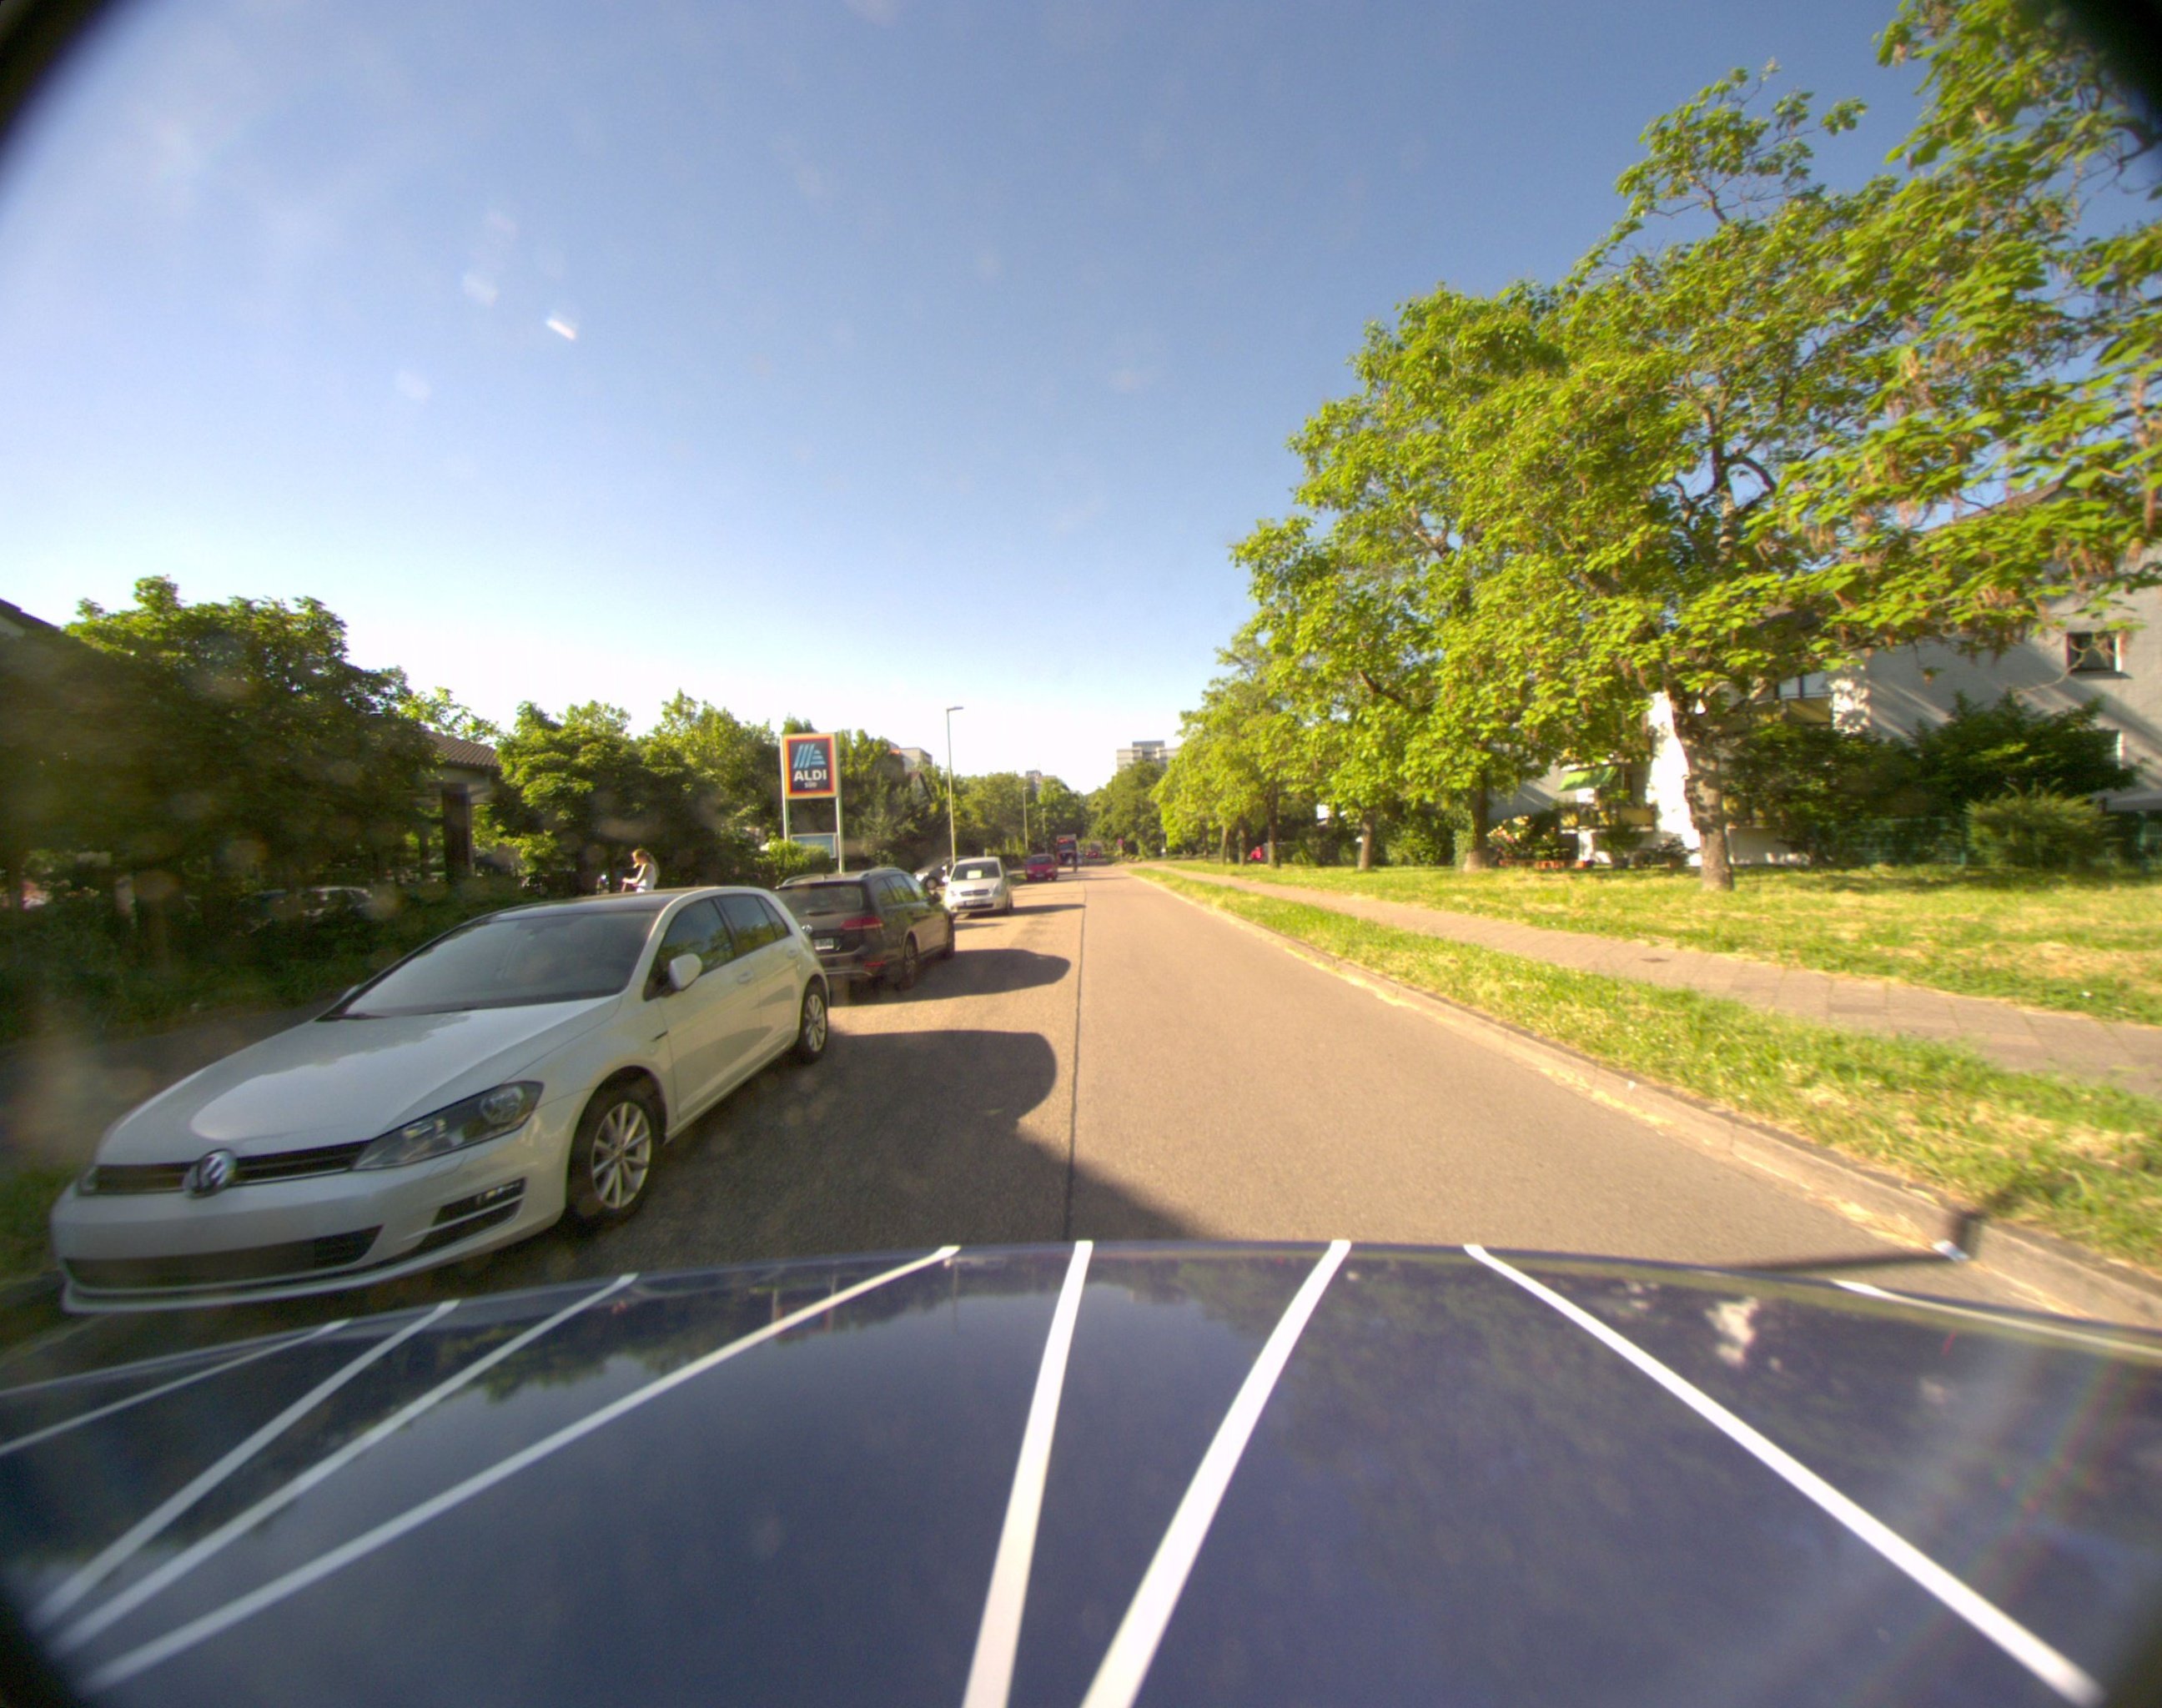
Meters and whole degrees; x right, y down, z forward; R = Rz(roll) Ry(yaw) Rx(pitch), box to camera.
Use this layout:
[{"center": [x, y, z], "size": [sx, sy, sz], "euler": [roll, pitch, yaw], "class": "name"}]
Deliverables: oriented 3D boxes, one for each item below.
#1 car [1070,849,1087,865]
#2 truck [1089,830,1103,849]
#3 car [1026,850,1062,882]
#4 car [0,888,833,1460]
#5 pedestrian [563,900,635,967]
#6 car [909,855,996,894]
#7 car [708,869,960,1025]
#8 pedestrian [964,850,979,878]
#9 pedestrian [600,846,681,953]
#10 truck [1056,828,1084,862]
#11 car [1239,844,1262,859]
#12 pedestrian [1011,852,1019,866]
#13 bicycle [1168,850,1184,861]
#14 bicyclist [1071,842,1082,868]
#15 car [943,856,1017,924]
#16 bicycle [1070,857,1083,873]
[{"center": [-0.302, 0.355, 90.155], "size": [1.845, 1.795, 4.028], "euler": [-3, 1, 0], "class": "car"}, {"center": [3.292, -3.325, 167.833], "size": [2.803, 3.996, 9.623], "euler": [-1, 2, 0], "class": "truck"}, {"center": [-2.295, 0.707, 48.242], "size": [1.844, 1.795, 4.653], "euler": [-3, 1, 2], "class": "car"}, {"center": [-2.984, 1.071, 4.287], "size": [1.831, 1.443, 3.999], "euler": [-3, 1, -1], "class": "car"}, {"center": [-7.783, 1.268, 12.292], "size": [0.533, 0.975, 0.811], "euler": [-3, 1, 8], "class": "pedestrian"}, {"center": [-6.225, 0.966, 36.786], "size": [3.760, 1.635, 1.852], "euler": [-2, 1, -24], "class": "car"}, {"center": [-2.945, 1.023, 10.168], "size": [1.812, 1.435, 4.363], "euler": [-3, 0, 1], "class": "car"}, {"center": [-6.746, 0.595, 46.845], "size": [0.806, 1.707, 0.983], "euler": [-1, 2, -3], "class": "pedestrian"}, {"center": [-7.575, 0.767, 13.096], "size": [0.800, 1.771, 0.809], "euler": [-2, 1, 9], "class": "pedestrian"}, {"center": [-1.414, -1.265, 103.308], "size": [3.166, 4.320, 10.582], "euler": [-2, 1, 1], "class": "truck"}, {"center": [18.913, -0.269, 84.806], "size": [1.674, 1.479, 3.884], "euler": [-2, 2, 0], "class": "car"}, {"center": [-7.429, 0.567, 85.508], "size": [0.641, 1.629, 0.641], "euler": [-2, 1, 3], "class": "pedestrian"}, {"center": [11.242, 0.139, 89.876], "size": [1.902, 1.146, 0.760], "euler": [-2, 4, 11], "class": "bicycle"}, {"center": [-0.379, 0.093, 60.726], "size": [0.753, 2.002, 0.711], "euler": [-3, 1, -1], "class": "bicyclist"}, {"center": [-2.761, 0.923, 21.550], "size": [1.684, 1.590, 4.026], "euler": [-3, 1, -3], "class": "car"}, {"center": [-0.385, 0.828, 60.472], "size": [0.863, 1.164, 3.030], "euler": [-3, 1, -2], "class": "bicycle"}]
